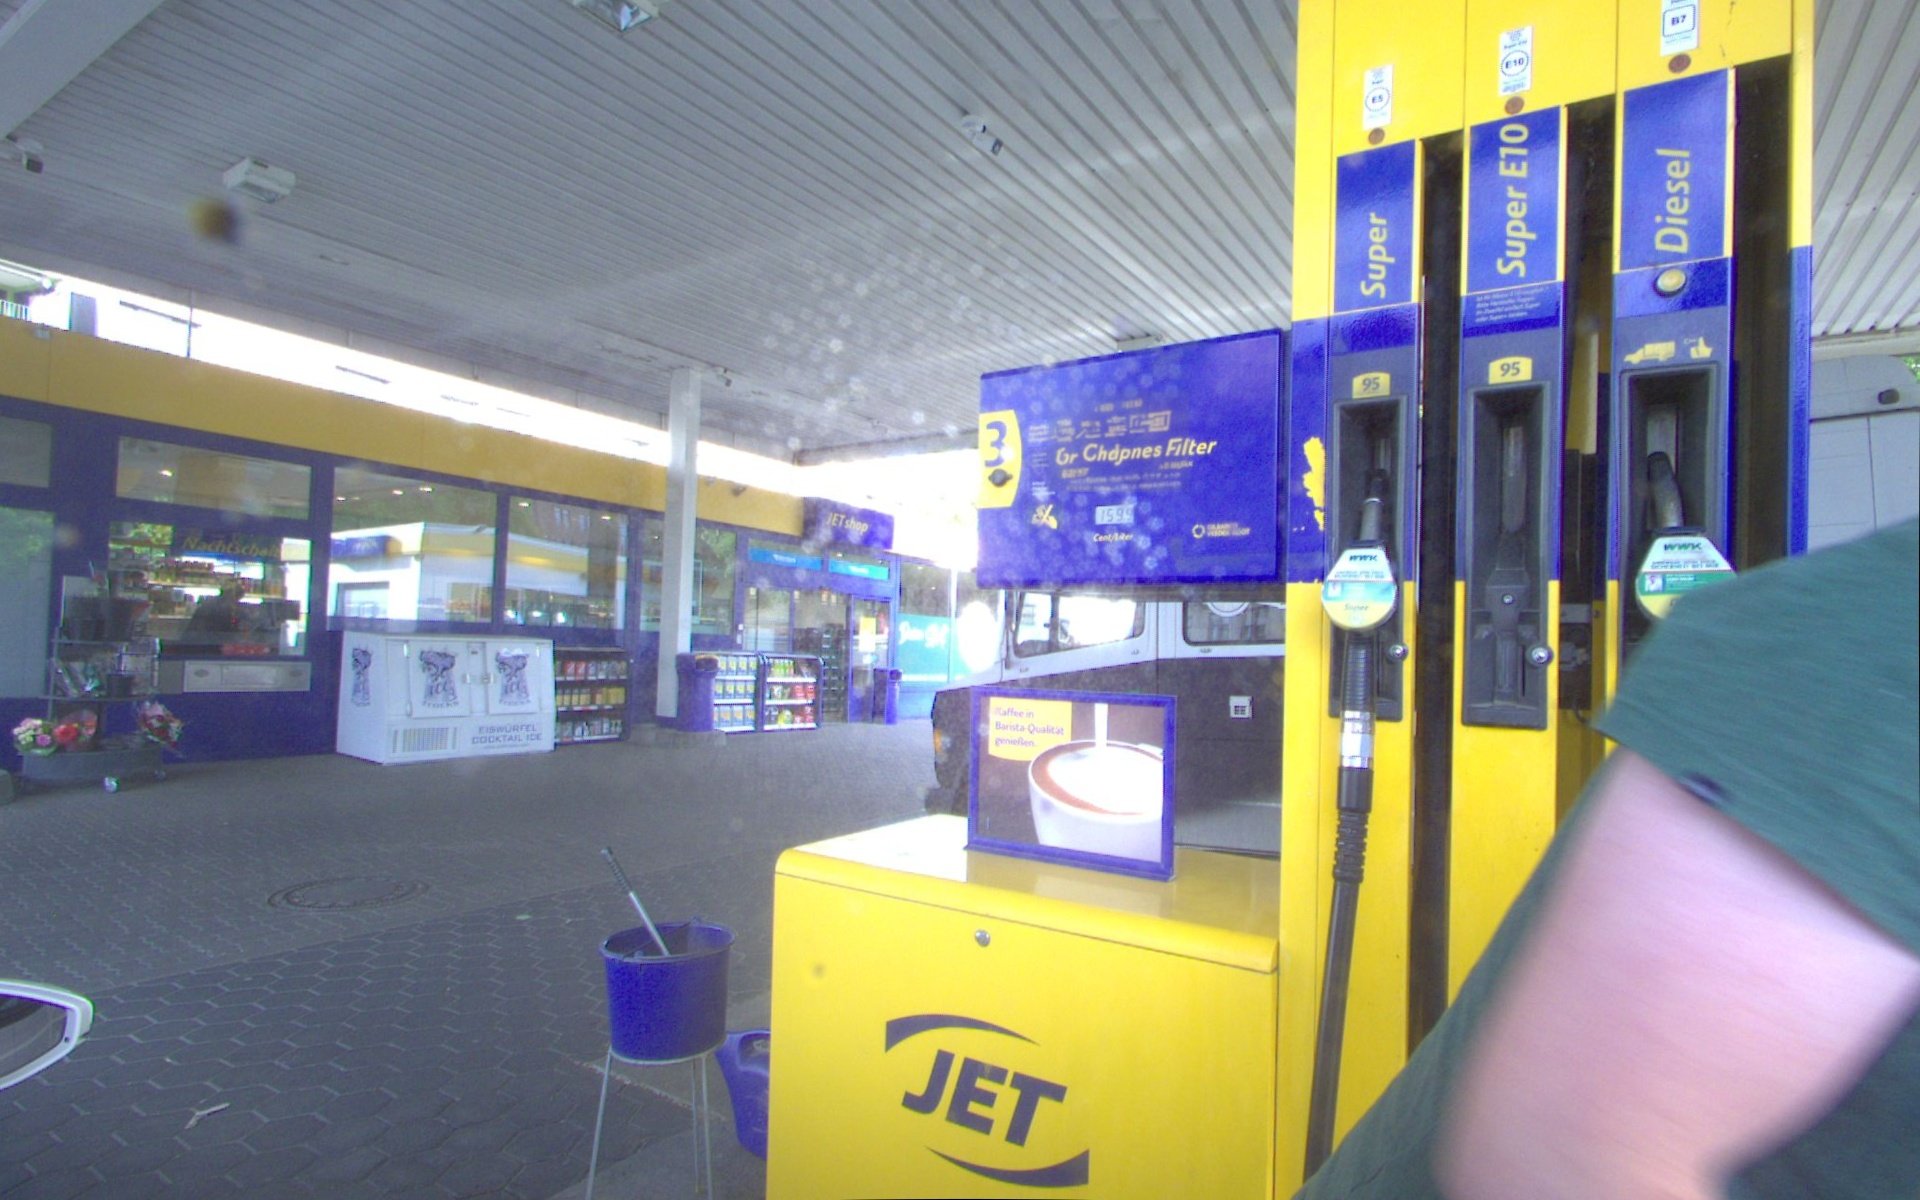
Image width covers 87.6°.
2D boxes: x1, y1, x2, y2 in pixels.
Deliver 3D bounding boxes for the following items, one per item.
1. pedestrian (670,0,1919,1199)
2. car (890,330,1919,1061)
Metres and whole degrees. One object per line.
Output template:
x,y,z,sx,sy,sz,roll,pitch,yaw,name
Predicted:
0.650,0.556,0.450,1.167,1.750,0.988,-2,-2,35,pedestrian
2.341,0.437,6.002,5.271,2.759,2.193,-1,-3,34,car
